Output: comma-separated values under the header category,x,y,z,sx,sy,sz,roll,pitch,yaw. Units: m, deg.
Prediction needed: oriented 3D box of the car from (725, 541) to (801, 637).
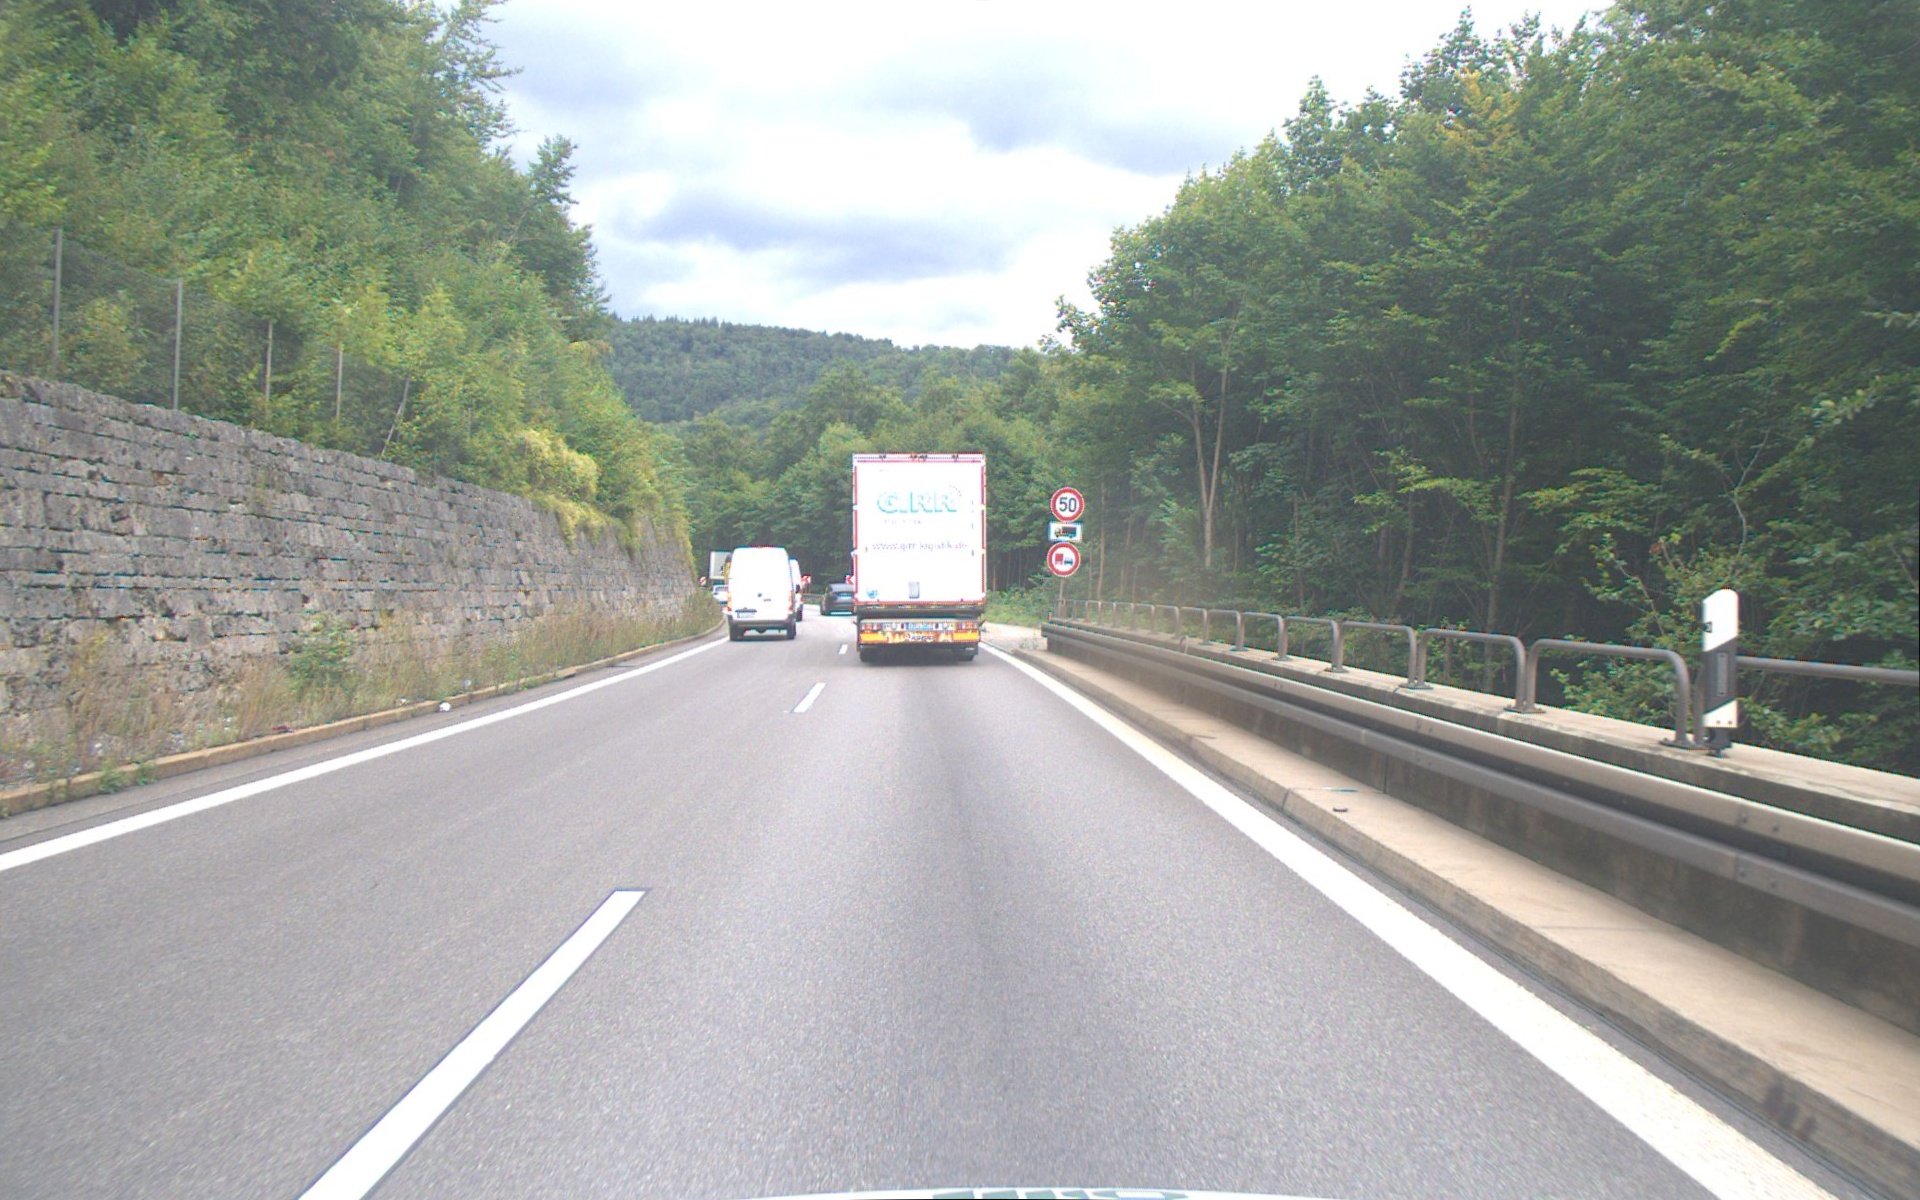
category,x,y,z,sx,sy,sz,roll,pitch,yaw
car,-5.990,-0.360,51.049,1.950,2.719,6.930,1,0,-4

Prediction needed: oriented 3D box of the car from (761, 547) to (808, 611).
category,x,y,z,sx,sy,sz,roll,pitch,yaw
car,-7.927,-0.942,74.436,1.903,2.719,5.981,1,0,-8

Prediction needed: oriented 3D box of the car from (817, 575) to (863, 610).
category,x,y,z,sx,sy,sz,roll,pitch,yaw
car,-6.156,-0.385,84.496,1.957,1.691,3.992,1,0,-9

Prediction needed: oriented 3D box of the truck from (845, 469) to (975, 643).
category,x,y,z,sx,sy,sz,roll,pitch,yaw
truck,-1.370,-1.170,43.254,2.997,4.055,7.184,2,2,-3

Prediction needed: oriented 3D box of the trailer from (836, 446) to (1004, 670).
category,x,y,z,sx,sy,sz,roll,pitch,yaw
trailer,-1.039,-0.969,36.832,2.996,4.055,12.131,2,2,-3
